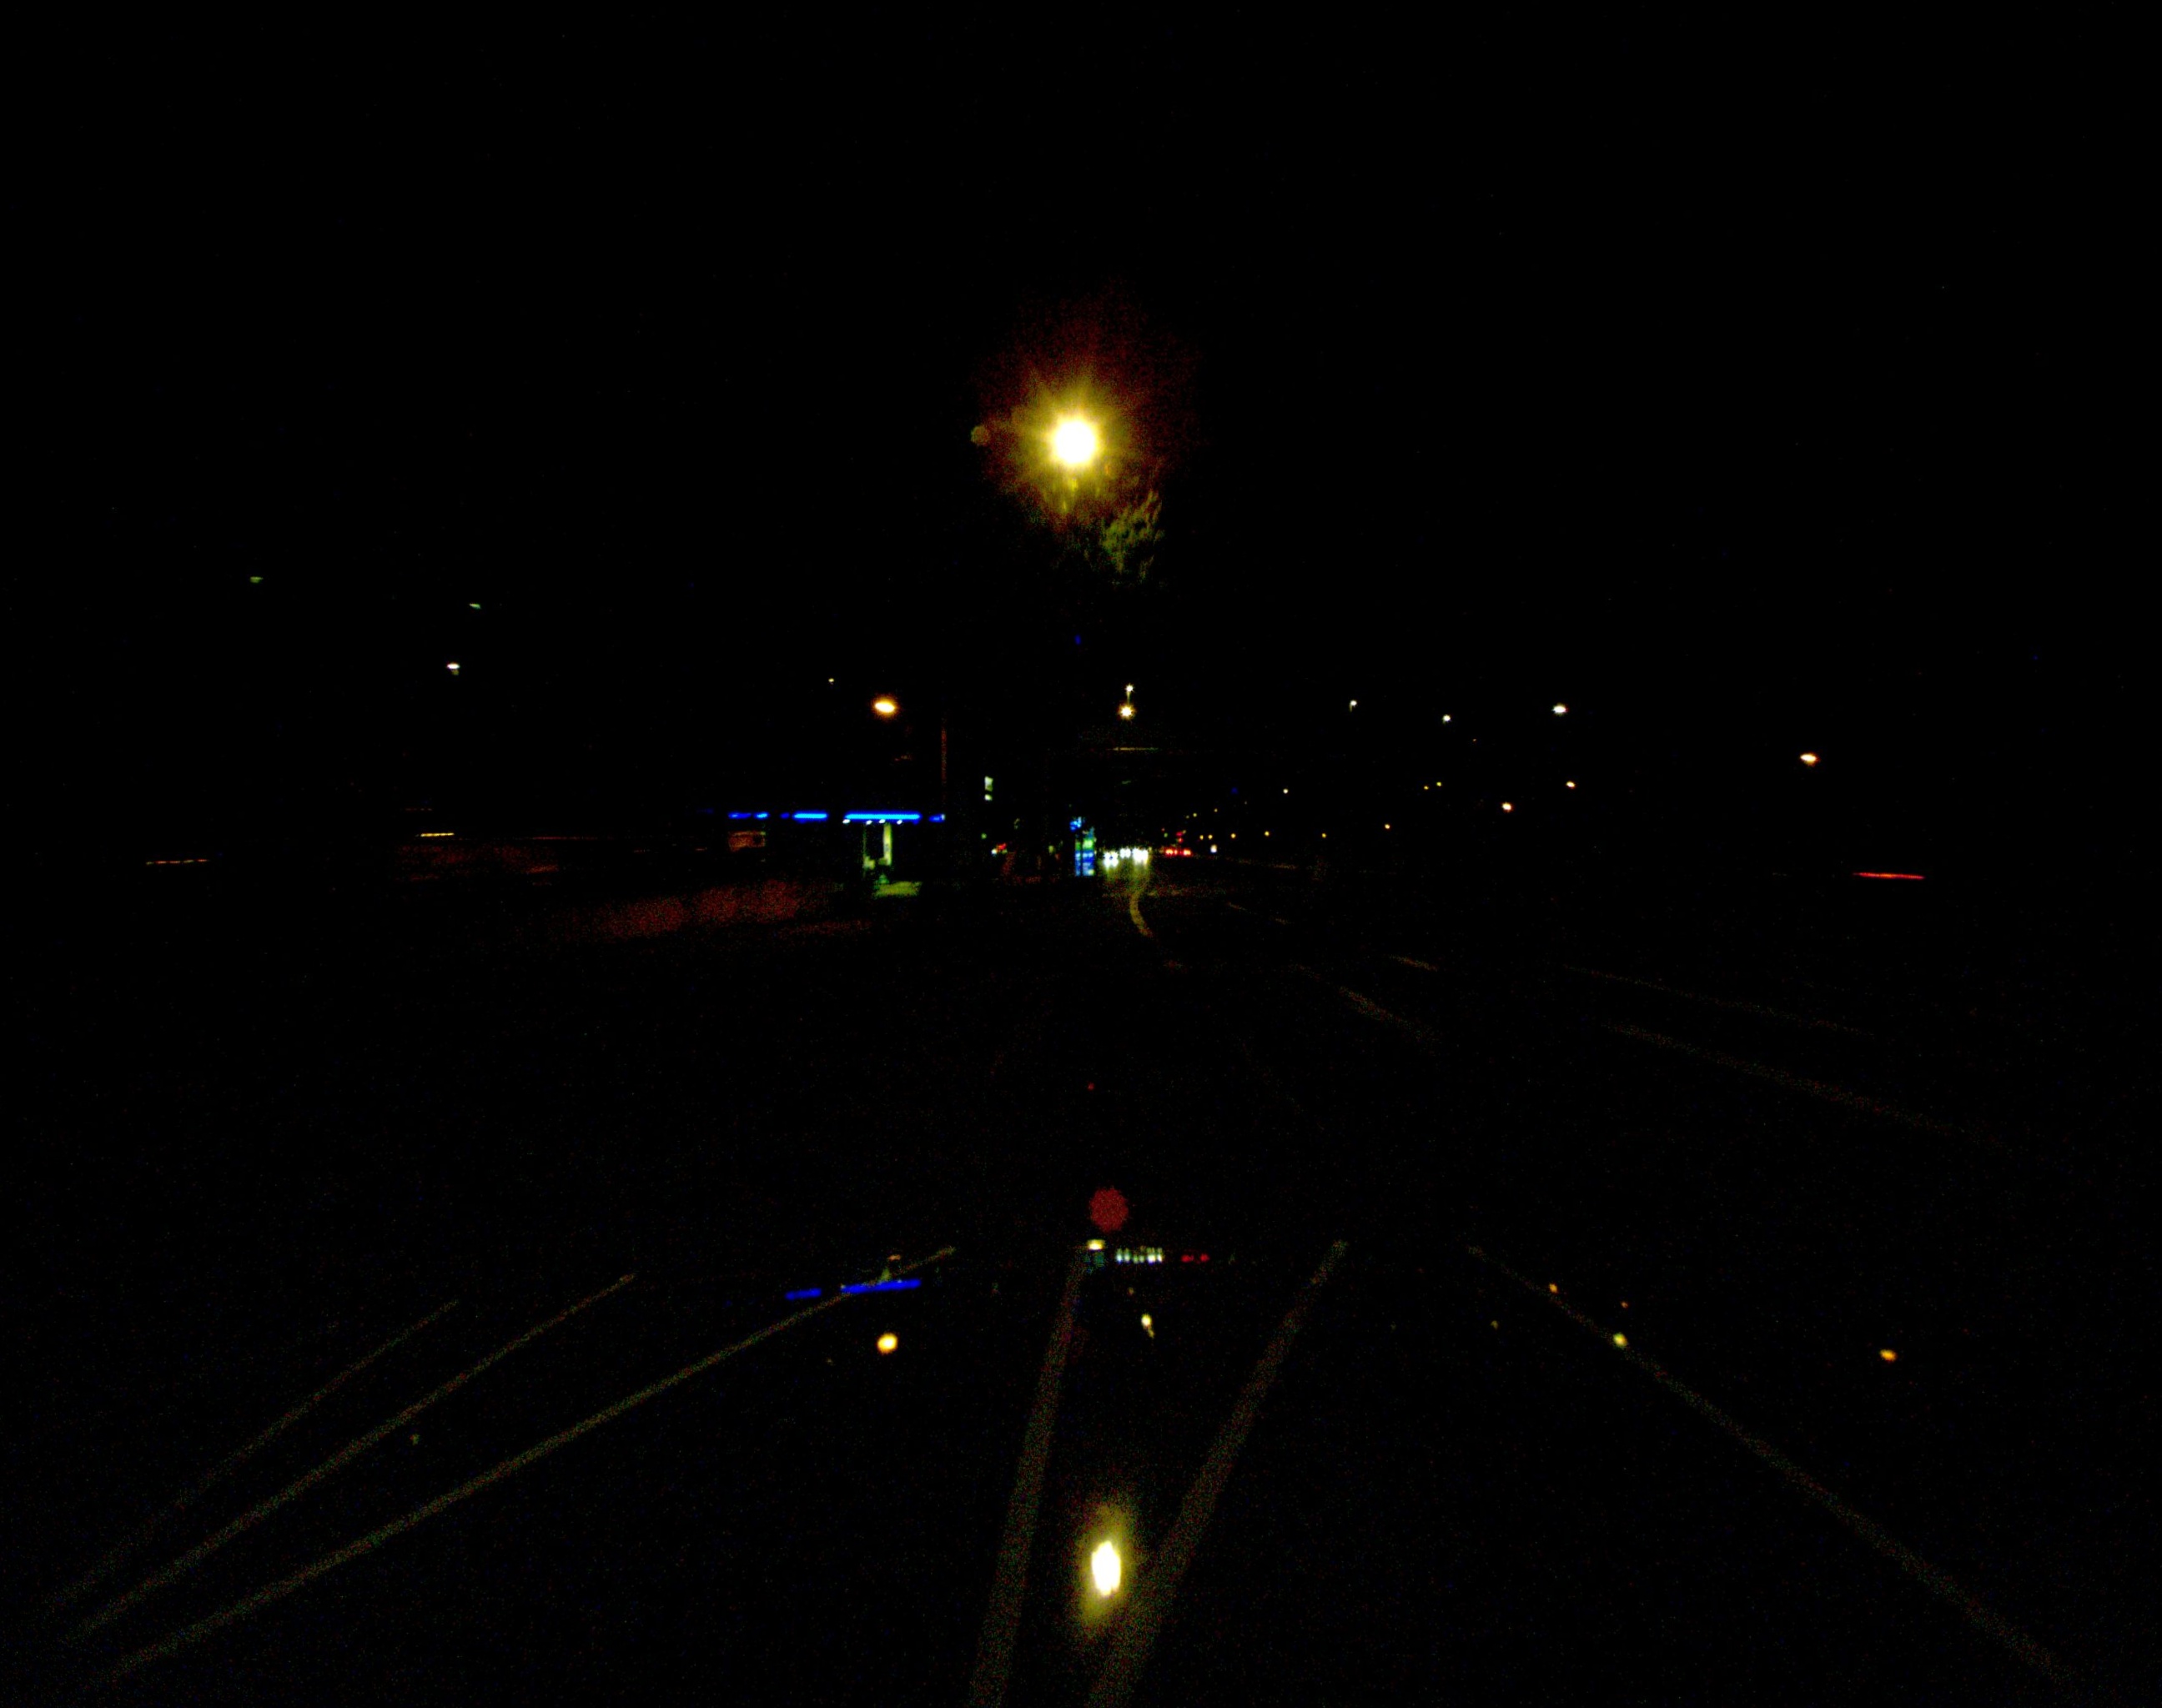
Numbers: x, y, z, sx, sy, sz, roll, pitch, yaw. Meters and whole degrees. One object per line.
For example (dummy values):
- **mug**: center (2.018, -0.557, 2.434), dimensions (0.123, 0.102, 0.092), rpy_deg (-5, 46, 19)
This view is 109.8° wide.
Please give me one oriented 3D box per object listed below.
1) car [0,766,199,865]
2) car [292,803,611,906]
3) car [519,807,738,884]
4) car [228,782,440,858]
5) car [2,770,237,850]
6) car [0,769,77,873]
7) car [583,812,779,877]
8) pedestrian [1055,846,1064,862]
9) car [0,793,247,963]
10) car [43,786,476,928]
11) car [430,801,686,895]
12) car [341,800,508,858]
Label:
- **car**: center (-20.329, -0.810, 14.838), dimensions (4.369, 1.715, 1.751), rpy_deg (3, 2, 3)
- **car**: center (-10.122, -0.019, 12.452), dimensions (3.734, 1.481, 1.741), rpy_deg (1, 2, -1)
- **car**: center (-10.253, -0.218, 17.405), dimensions (3.996, 1.562, 1.738), rpy_deg (2, 2, 2)
- **car**: center (-19.846, -0.904, 20.288), dimensions (3.995, 1.721, 1.837), rpy_deg (3, 2, 4)
- **car**: center (-25.232, -1.124, 20.058), dimensions (3.819, 1.885, 1.751), rpy_deg (2, 2, -2)
- **car**: center (-19.400, -0.613, 12.286), dimensions (3.996, 1.680, 1.819), rpy_deg (2, 2, 2)
- **car**: center (-10.271, -0.267, 19.733), dimensions (4.129, 1.514, 1.822), rpy_deg (1, 3, 2)
- **pedestrian**: center (-2.534, 0.010, 89.174), dimensions (0.806, 1.902, 0.794), rpy_deg (2, 2, 11)
- **car**: center (-10.845, 0.166, 7.028), dimensions (3.850, 1.482, 1.735), rpy_deg (1, 3, -30)
- **car**: center (-10.321, 0.025, 9.806), dimensions (3.572, 1.561, 1.725), rpy_deg (2, 2, -3)
- **car**: center (-10.116, -0.135, 14.908), dimensions (3.756, 1.578, 1.779), rpy_deg (3, 2, 0)
- **car**: center (-19.353, -0.733, 22.487), dimensions (3.648, 1.462, 1.637), rpy_deg (3, 2, 5)
